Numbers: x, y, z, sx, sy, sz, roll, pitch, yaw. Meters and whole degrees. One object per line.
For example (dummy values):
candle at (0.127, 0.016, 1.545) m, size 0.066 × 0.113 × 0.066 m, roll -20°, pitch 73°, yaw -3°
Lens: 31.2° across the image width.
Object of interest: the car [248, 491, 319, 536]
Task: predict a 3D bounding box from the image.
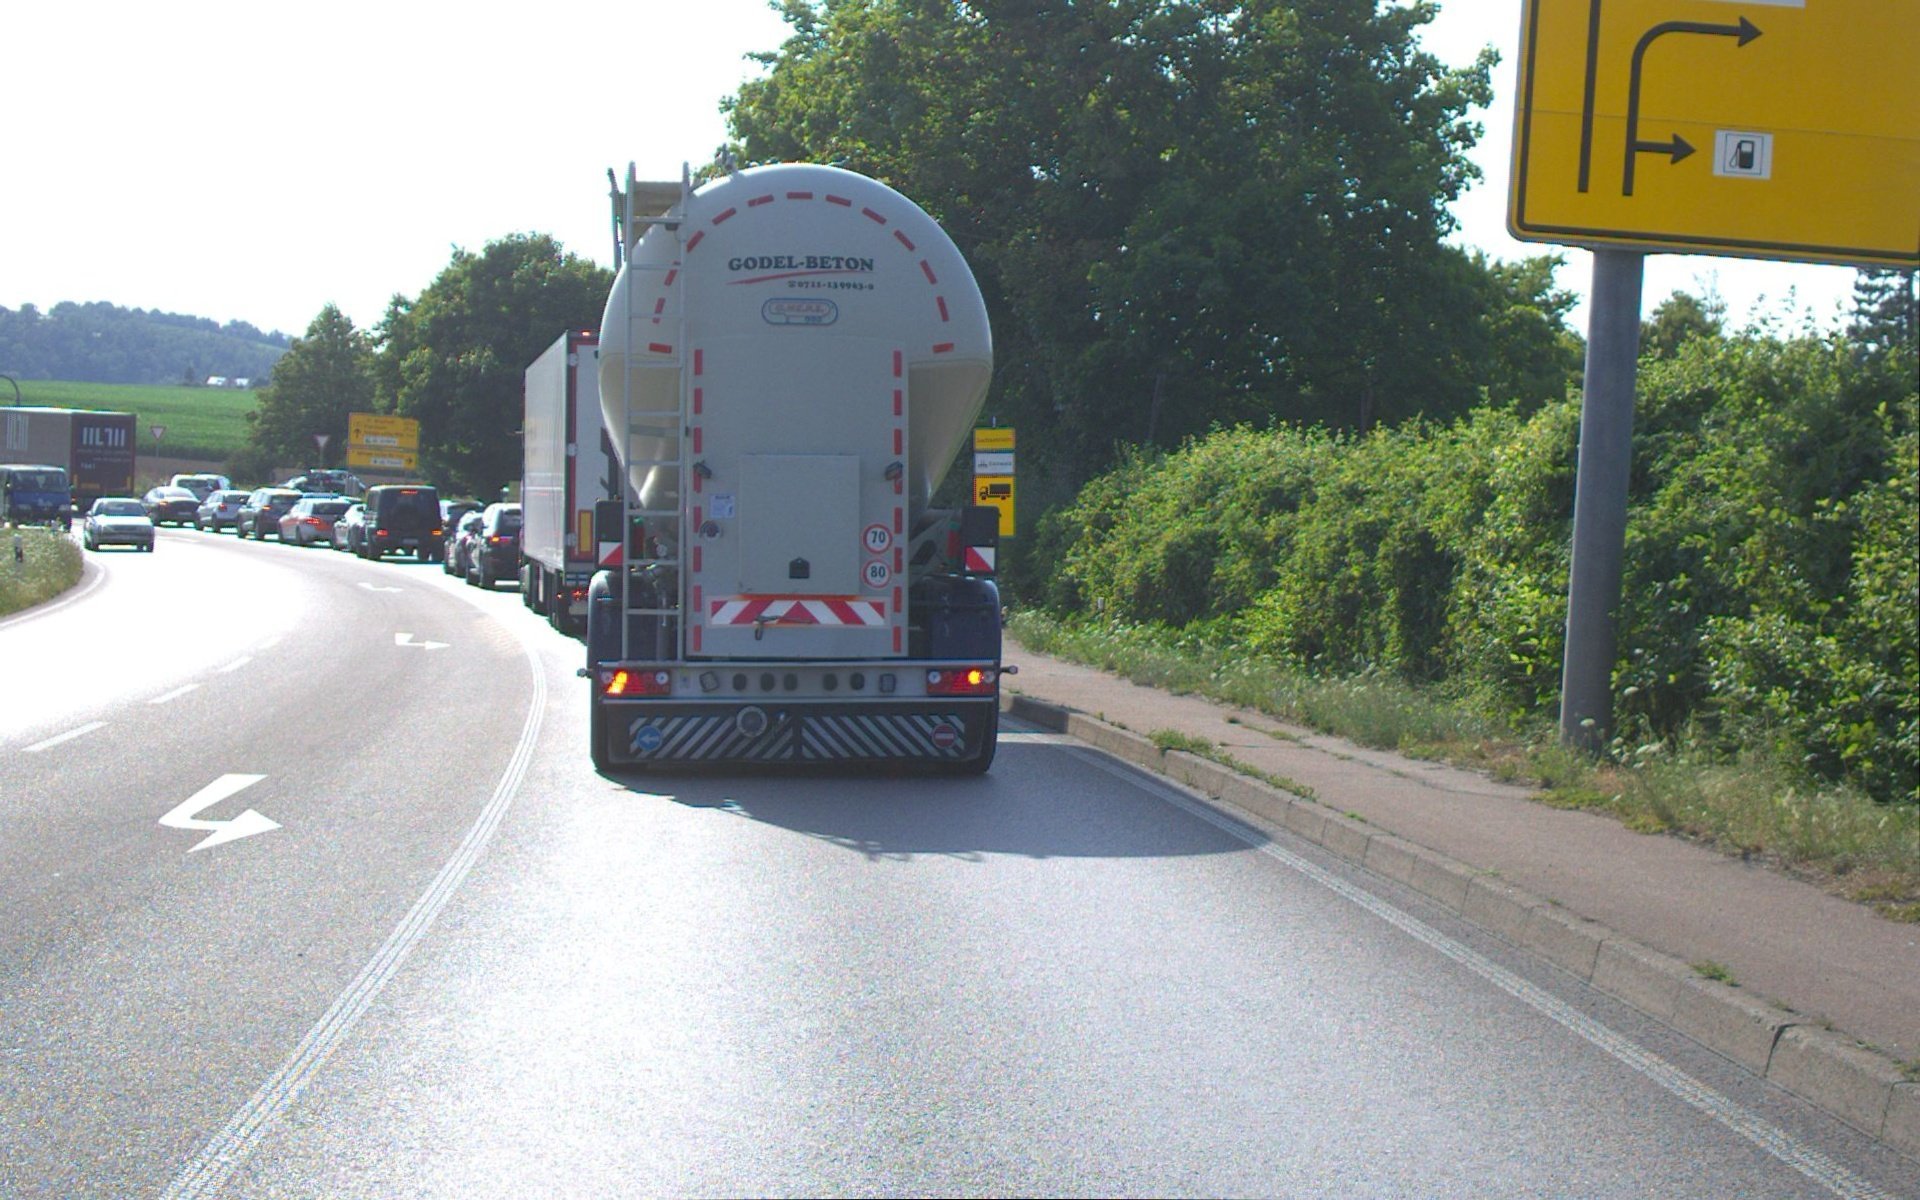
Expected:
car at (-21.902, -2.810, 111.272) m, size 1.580 × 1.336 × 3.426 m, roll 2°, pitch 2°, yaw -23°

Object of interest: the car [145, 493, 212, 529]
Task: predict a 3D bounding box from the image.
car at (-28.431, -3.234, 125.026) m, size 1.769 × 1.201 × 3.426 m, roll 2°, pitch 2°, yaw -23°

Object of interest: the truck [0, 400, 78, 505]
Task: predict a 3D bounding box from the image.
truck at (-40.807, -6.399, 149.407) m, size 3.375 × 4.335 × 5.707 m, roll 1°, pitch 2°, yaw -28°

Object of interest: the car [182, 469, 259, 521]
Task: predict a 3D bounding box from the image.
car at (-30.349, -4.318, 141.091) m, size 1.993 × 2.006 × 4.001 m, roll 0°, pitch 3°, yaw -29°

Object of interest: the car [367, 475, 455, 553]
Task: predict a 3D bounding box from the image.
car at (-14.600, -2.303, 91.305) m, size 1.861 × 2.006 × 3.720 m, roll 0°, pitch 2°, yaw -16°

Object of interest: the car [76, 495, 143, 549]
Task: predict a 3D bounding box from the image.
car at (-23.385, -2.155, 94.457) m, size 1.706 × 1.423 × 4.180 m, roll 1°, pitch 1°, yaw -15°

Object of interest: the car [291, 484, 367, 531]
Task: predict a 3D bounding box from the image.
car at (-19.338, -2.850, 105.295) m, size 1.580 × 1.336 × 3.426 m, roll 2°, pitch 2°, yaw -23°

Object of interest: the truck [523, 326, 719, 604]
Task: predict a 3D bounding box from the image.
truck at (-5.591, -2.197, 56.933) m, size 2.951 × 4.288 × 4.932 m, roll 2°, pitch 1°, yaw -5°

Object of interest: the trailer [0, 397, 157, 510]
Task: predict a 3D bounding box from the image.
trailer at (-36.822, -6.045, 141.986) m, size 3.375 × 4.335 × 14.296 m, roll 1°, pitch 2°, yaw -28°

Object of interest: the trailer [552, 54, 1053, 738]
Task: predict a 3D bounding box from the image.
trailer at (-1.357, -1.318, 25.288) m, size 2.909 × 3.992 × 9.932 m, roll 1°, pitch 1°, yaw -5°

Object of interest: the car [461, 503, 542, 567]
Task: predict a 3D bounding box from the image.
car at (-10.322, -1.478, 77.191) m, size 1.580 × 1.336 × 3.427 m, roll 2°, pitch 1°, yaw -11°

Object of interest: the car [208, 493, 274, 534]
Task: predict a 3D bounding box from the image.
car at (-24.888, -3.000, 118.883) m, size 1.580 × 1.336 × 3.426 m, roll 2°, pitch 2°, yaw -23°

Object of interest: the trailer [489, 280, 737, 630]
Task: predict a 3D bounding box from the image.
trailer at (-5.004, -2.022, 50.447) m, size 2.954 × 4.300 × 14.178 m, roll 2°, pitch 1°, yaw -5°

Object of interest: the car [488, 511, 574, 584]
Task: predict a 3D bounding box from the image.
car at (-8.605, -1.065, 68.799) m, size 1.580 × 1.336 × 3.426 m, roll 2°, pitch 1°, yaw -9°

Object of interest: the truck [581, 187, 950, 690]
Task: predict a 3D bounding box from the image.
truck at (-1.737, -1.339, 29.692) m, size 2.909 × 3.992 × 4.061 m, roll 1°, pitch 1°, yaw -5°

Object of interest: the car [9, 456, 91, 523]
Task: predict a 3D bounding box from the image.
car at (-30.270, -3.657, 114.258) m, size 1.997 × 2.129 × 4.781 m, roll 1°, pitch 1°, yaw -22°
